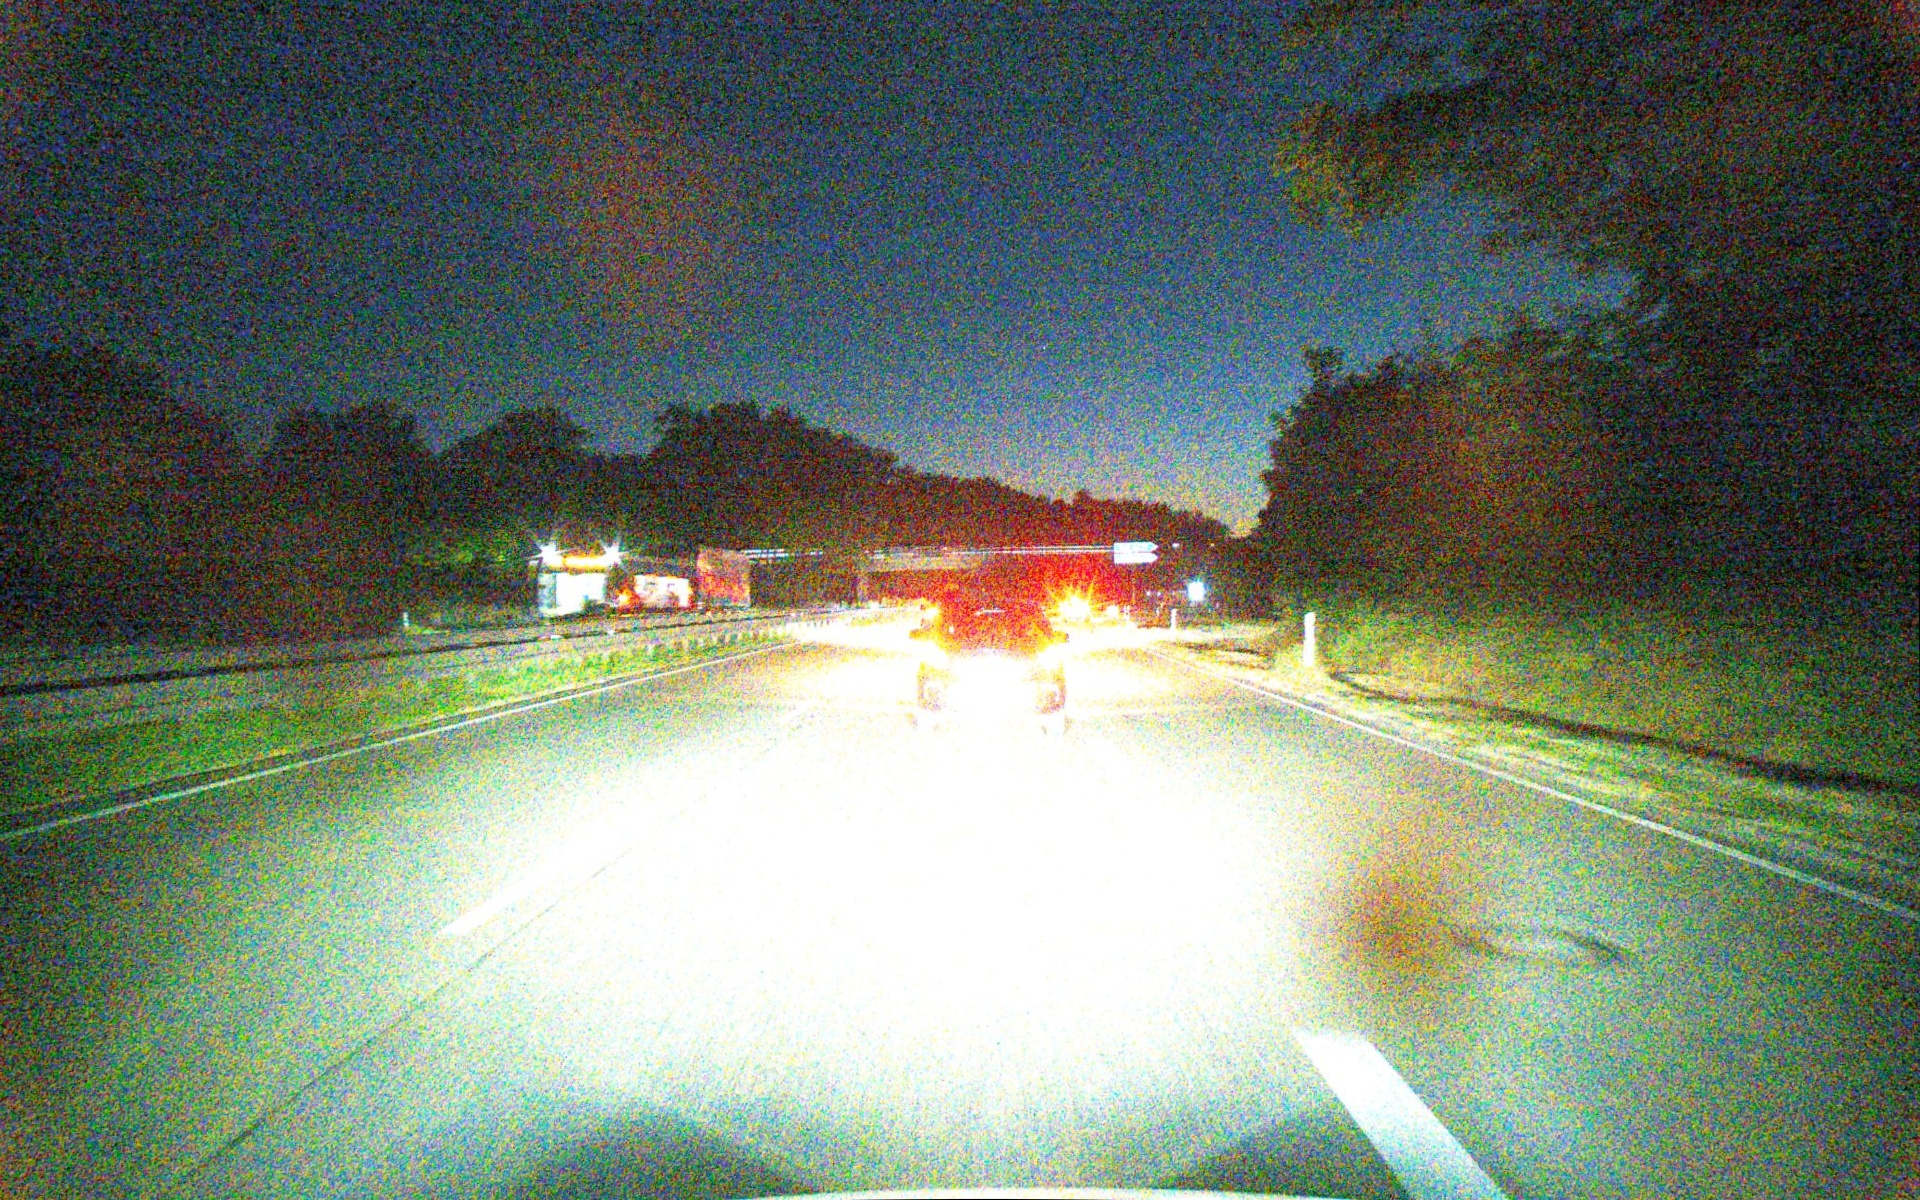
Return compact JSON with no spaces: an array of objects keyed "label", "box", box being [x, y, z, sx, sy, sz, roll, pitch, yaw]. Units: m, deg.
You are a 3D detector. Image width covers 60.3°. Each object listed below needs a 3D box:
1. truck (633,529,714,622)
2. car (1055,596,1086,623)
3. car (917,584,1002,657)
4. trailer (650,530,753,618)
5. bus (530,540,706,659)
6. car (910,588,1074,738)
[{"label":"truck","box":[-13.535,-1.171,78.636,2.620,4.250,5.870,0,0,2]},{"label":"car","box":[7.087,0.600,106.242,1.698,1.646,3.798,0,0,-1]},{"label":"car","box":[0.016,0.435,39.579,1.900,1.636,4.644,1,1,0]},{"label":"trailer","box":[-13.180,-1.304,85.613,2.620,4.222,13.750,0,1,2]},{"label":"bus","box":[-10.842,-0.112,53.978,2.863,3.446,12.311,0,1,2]},{"label":"car","box":[0.358,0.634,18.808,1.656,1.503,4.000,0,0,1]}]
